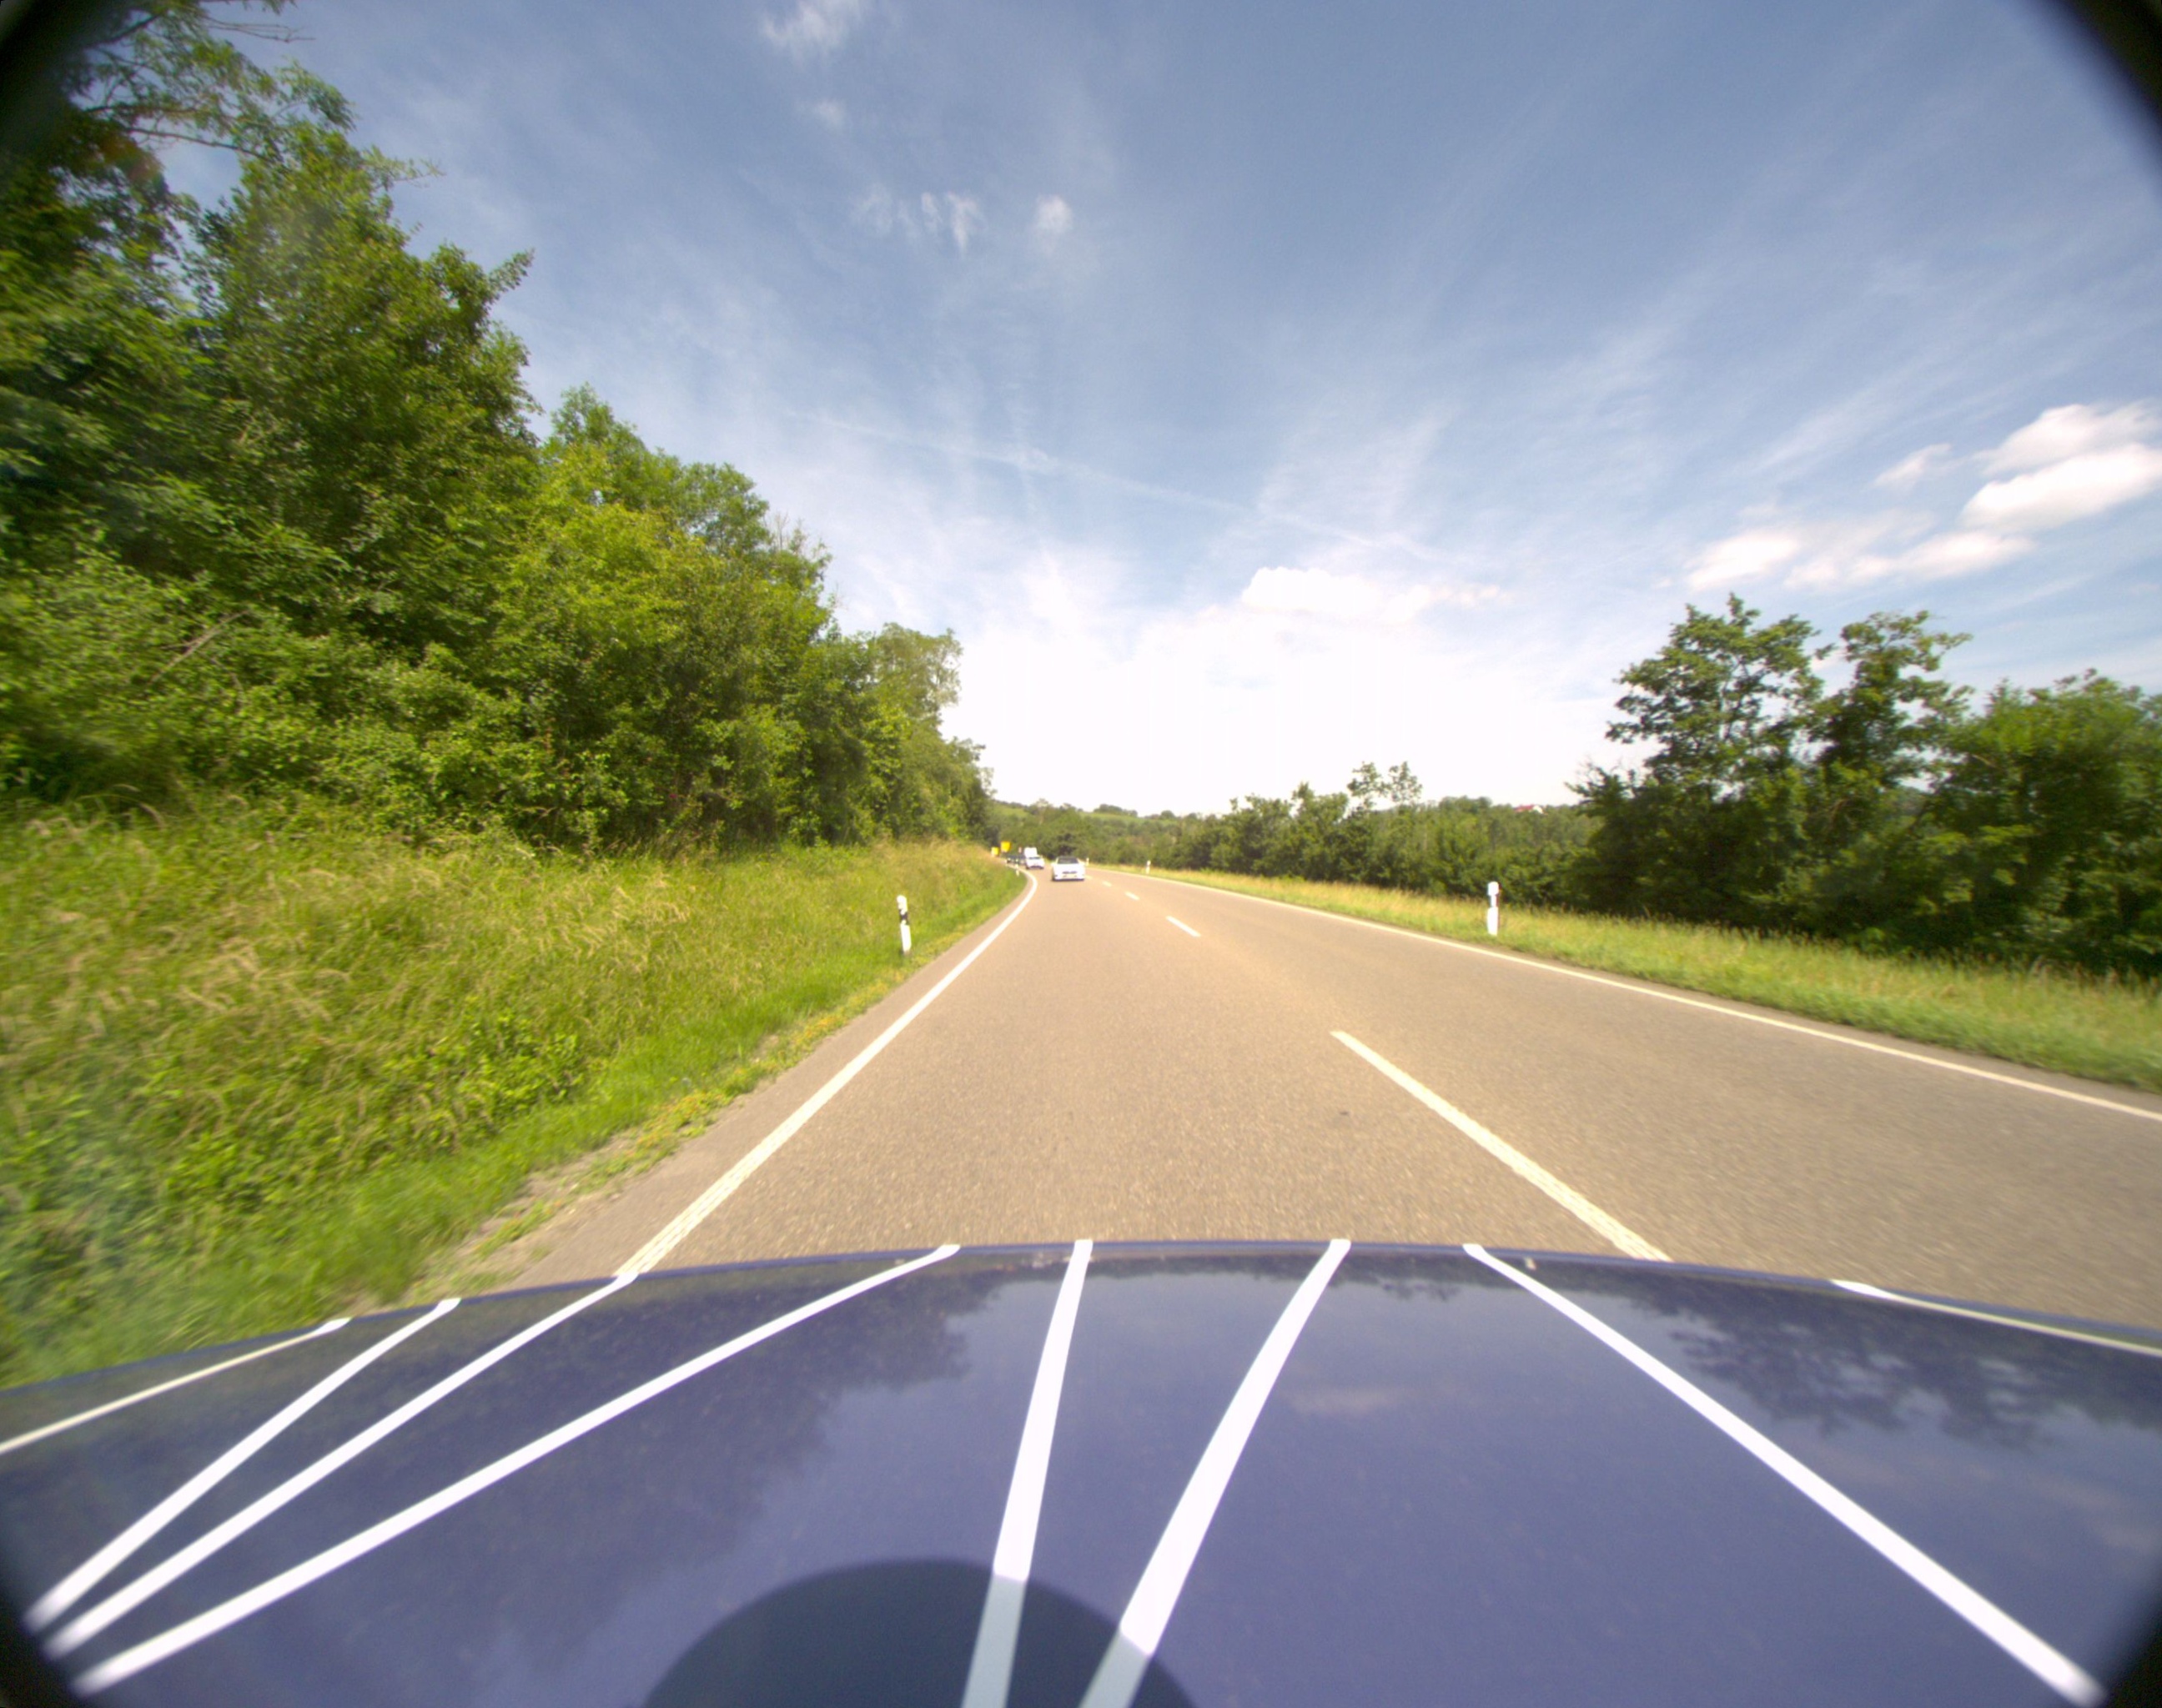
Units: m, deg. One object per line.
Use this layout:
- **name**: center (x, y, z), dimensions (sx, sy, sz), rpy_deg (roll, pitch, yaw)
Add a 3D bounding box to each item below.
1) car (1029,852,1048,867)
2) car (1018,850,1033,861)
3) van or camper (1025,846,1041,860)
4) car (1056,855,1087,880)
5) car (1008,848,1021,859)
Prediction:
- **car**: center (-4.565, 0.535, 81.367), dimensions (1.867, 1.480, 3.998), rpy_deg (-2, 0, -5)
- **car**: center (-7.818, 0.193, 106.899), dimensions (1.826, 1.510, 3.996), rpy_deg (2, 0, -8)
- **van or camper**: center (-8.768, -0.192, 137.939), dimensions (2.215, 2.513, 6.128), rpy_deg (-1, 1, -9)
- **car**: center (-0.612, 0.789, 46.130), dimensions (1.773, 1.437, 3.999), rpy_deg (-2, 0, -2)
- **car**: center (-11.009, -0.105, 125.785), dimensions (1.667, 1.641, 3.996), rpy_deg (2, 0, -9)
